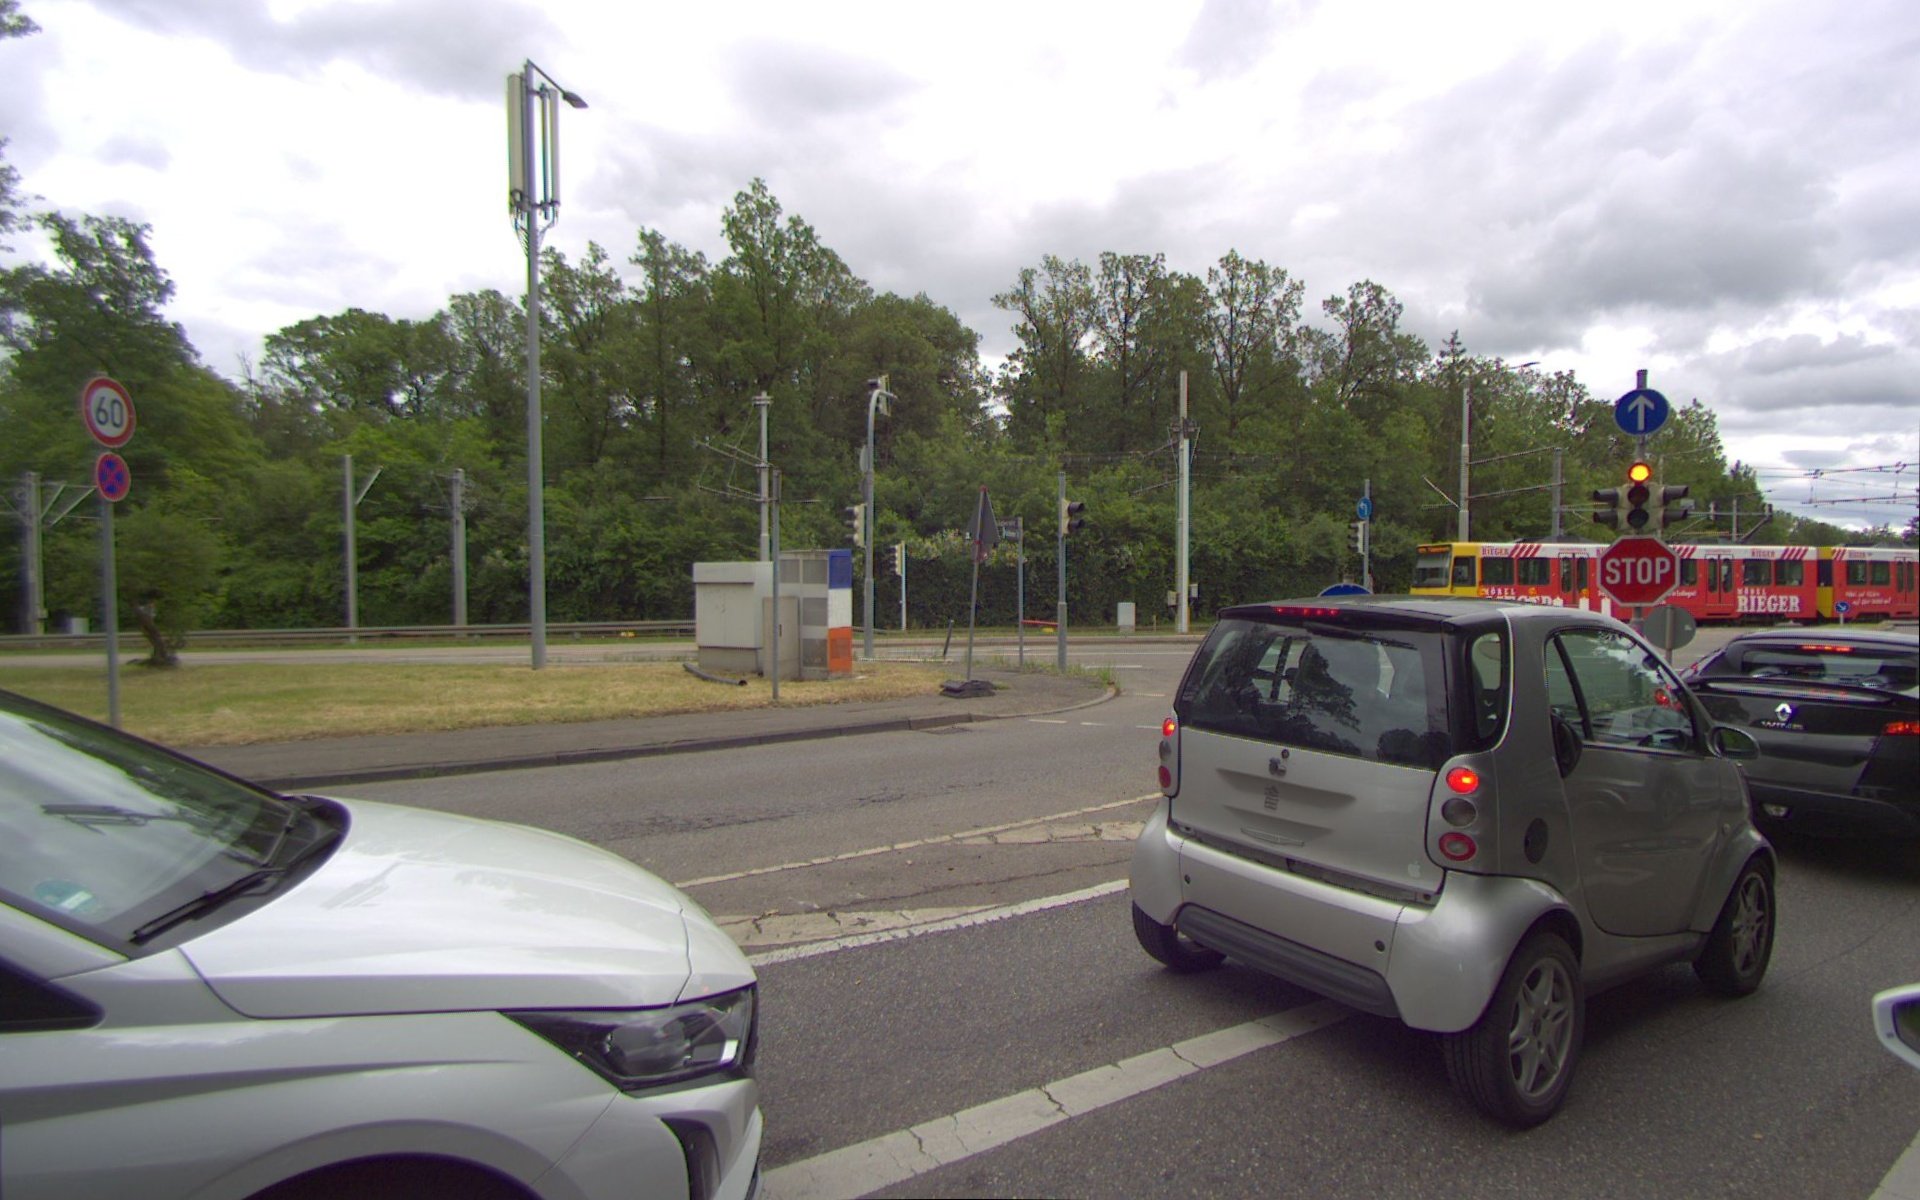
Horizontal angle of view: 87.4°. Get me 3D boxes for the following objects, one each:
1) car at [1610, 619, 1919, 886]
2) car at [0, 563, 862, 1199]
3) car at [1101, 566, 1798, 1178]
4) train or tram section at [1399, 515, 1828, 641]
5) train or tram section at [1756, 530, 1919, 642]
[{"bbox_3d":[6.058,0.842,6.925,3.448,1.380,1.759,0,0,-41],"label":"car"},{"bbox_3d":[-2.324,0.705,1.605,4.022,1.499,1.643,0,0,-28],"label":"car"},{"bbox_3d":[2.038,0.721,4.031,2.701,1.607,1.447,0,0,-36],"label":"car"},{"bbox_3d":[27.677,-0.781,42.381,18.402,4.477,2.959,2,0,-12],"label":"train or tram section"},{"bbox_3d":[45.371,-0.394,47.759,18.270,4.712,2.942,2,0,-21],"label":"train or tram section"}]
